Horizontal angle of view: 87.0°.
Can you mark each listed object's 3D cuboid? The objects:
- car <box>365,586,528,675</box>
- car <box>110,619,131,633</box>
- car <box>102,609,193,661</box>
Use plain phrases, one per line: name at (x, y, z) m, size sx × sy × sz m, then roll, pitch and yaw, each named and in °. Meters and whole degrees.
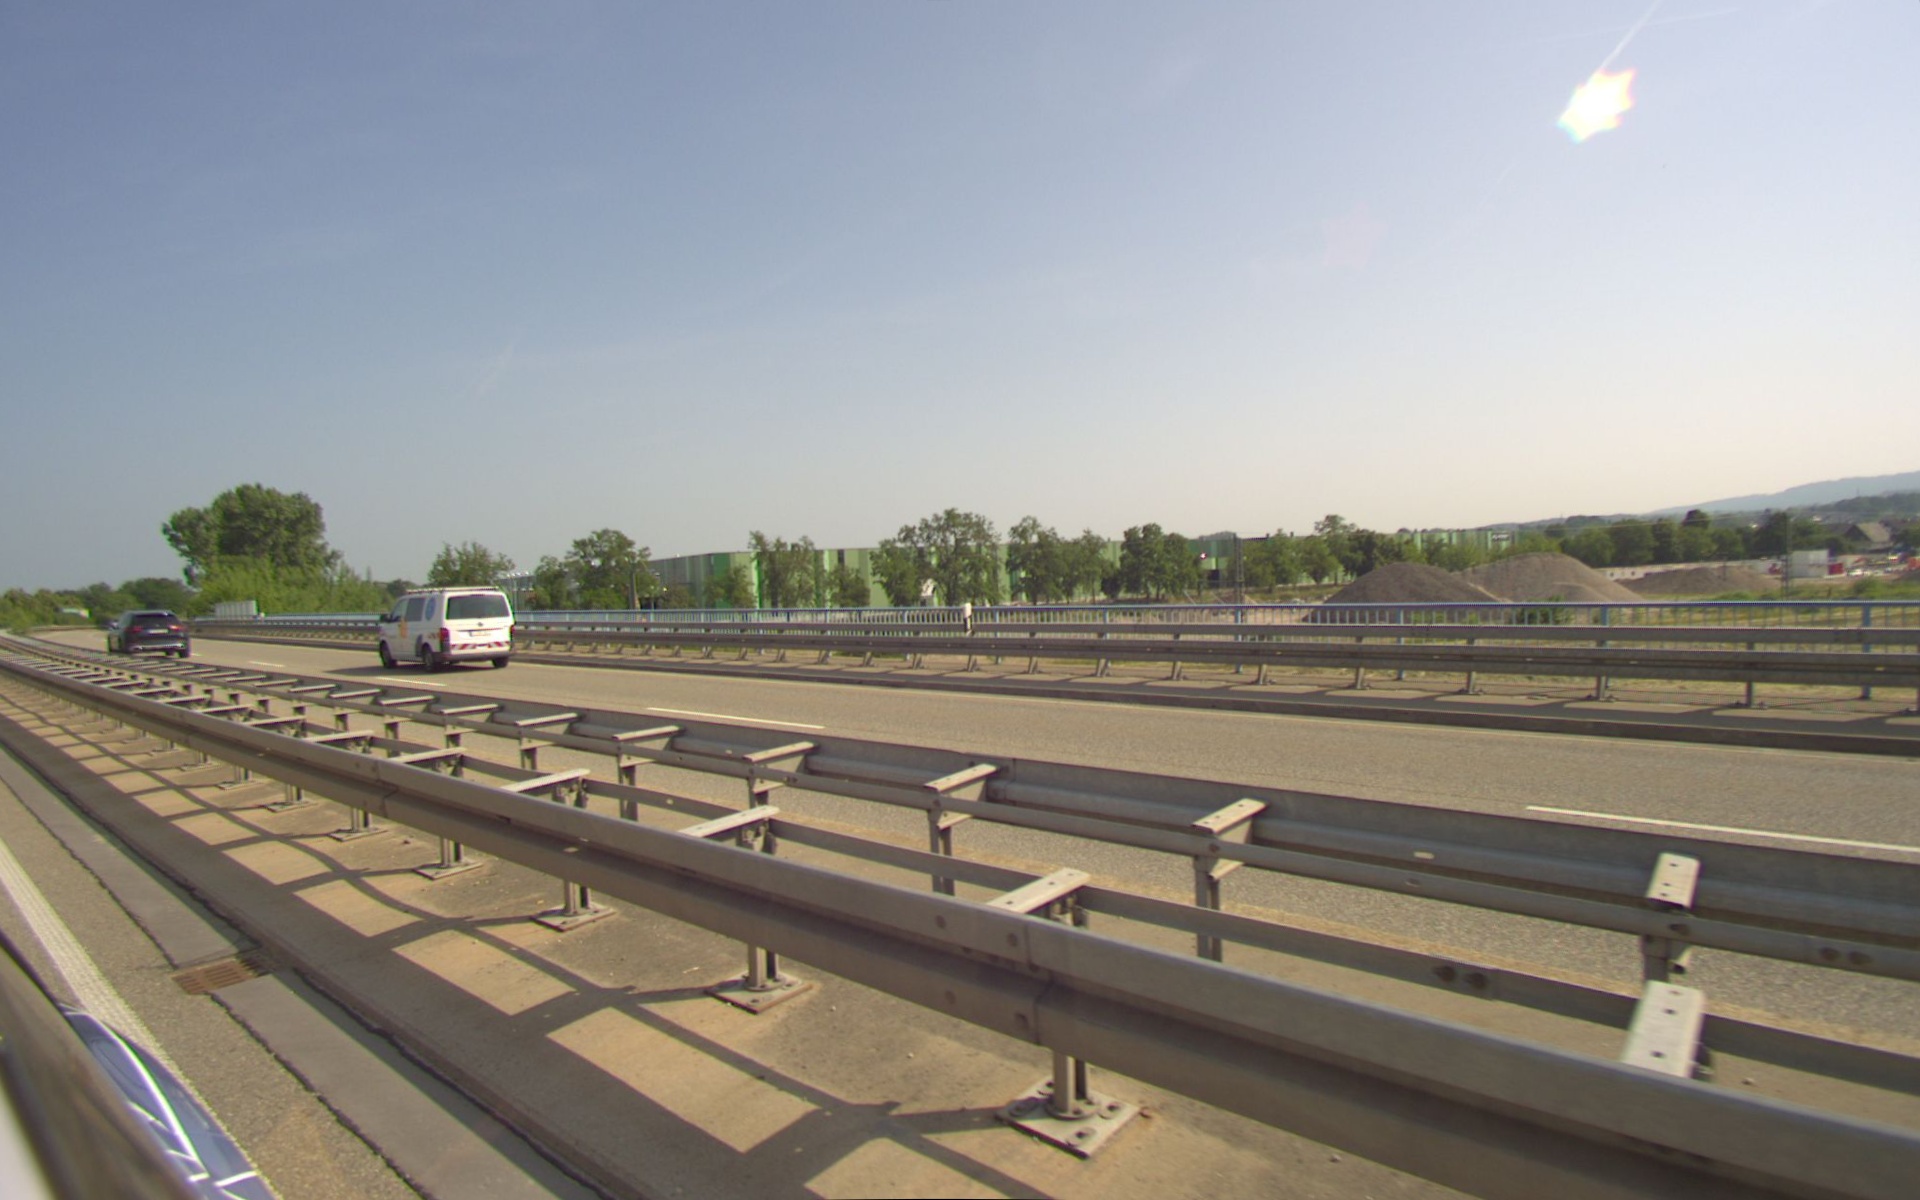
car at (-13.204, 0.710, 25.857) m, size 5.308 × 2.021 × 2.016 m, roll -1°, pitch 1°, yaw 43°
car at (-96.010, 2.960, 115.681) m, size 1.628 × 1.514 × 4.005 m, roll -3°, pitch 1°, yaw -42°
car at (-28.269, 1.195, 35.166) m, size 4.418 × 1.619 × 1.844 m, roll -2°, pitch 0°, yaw 44°
